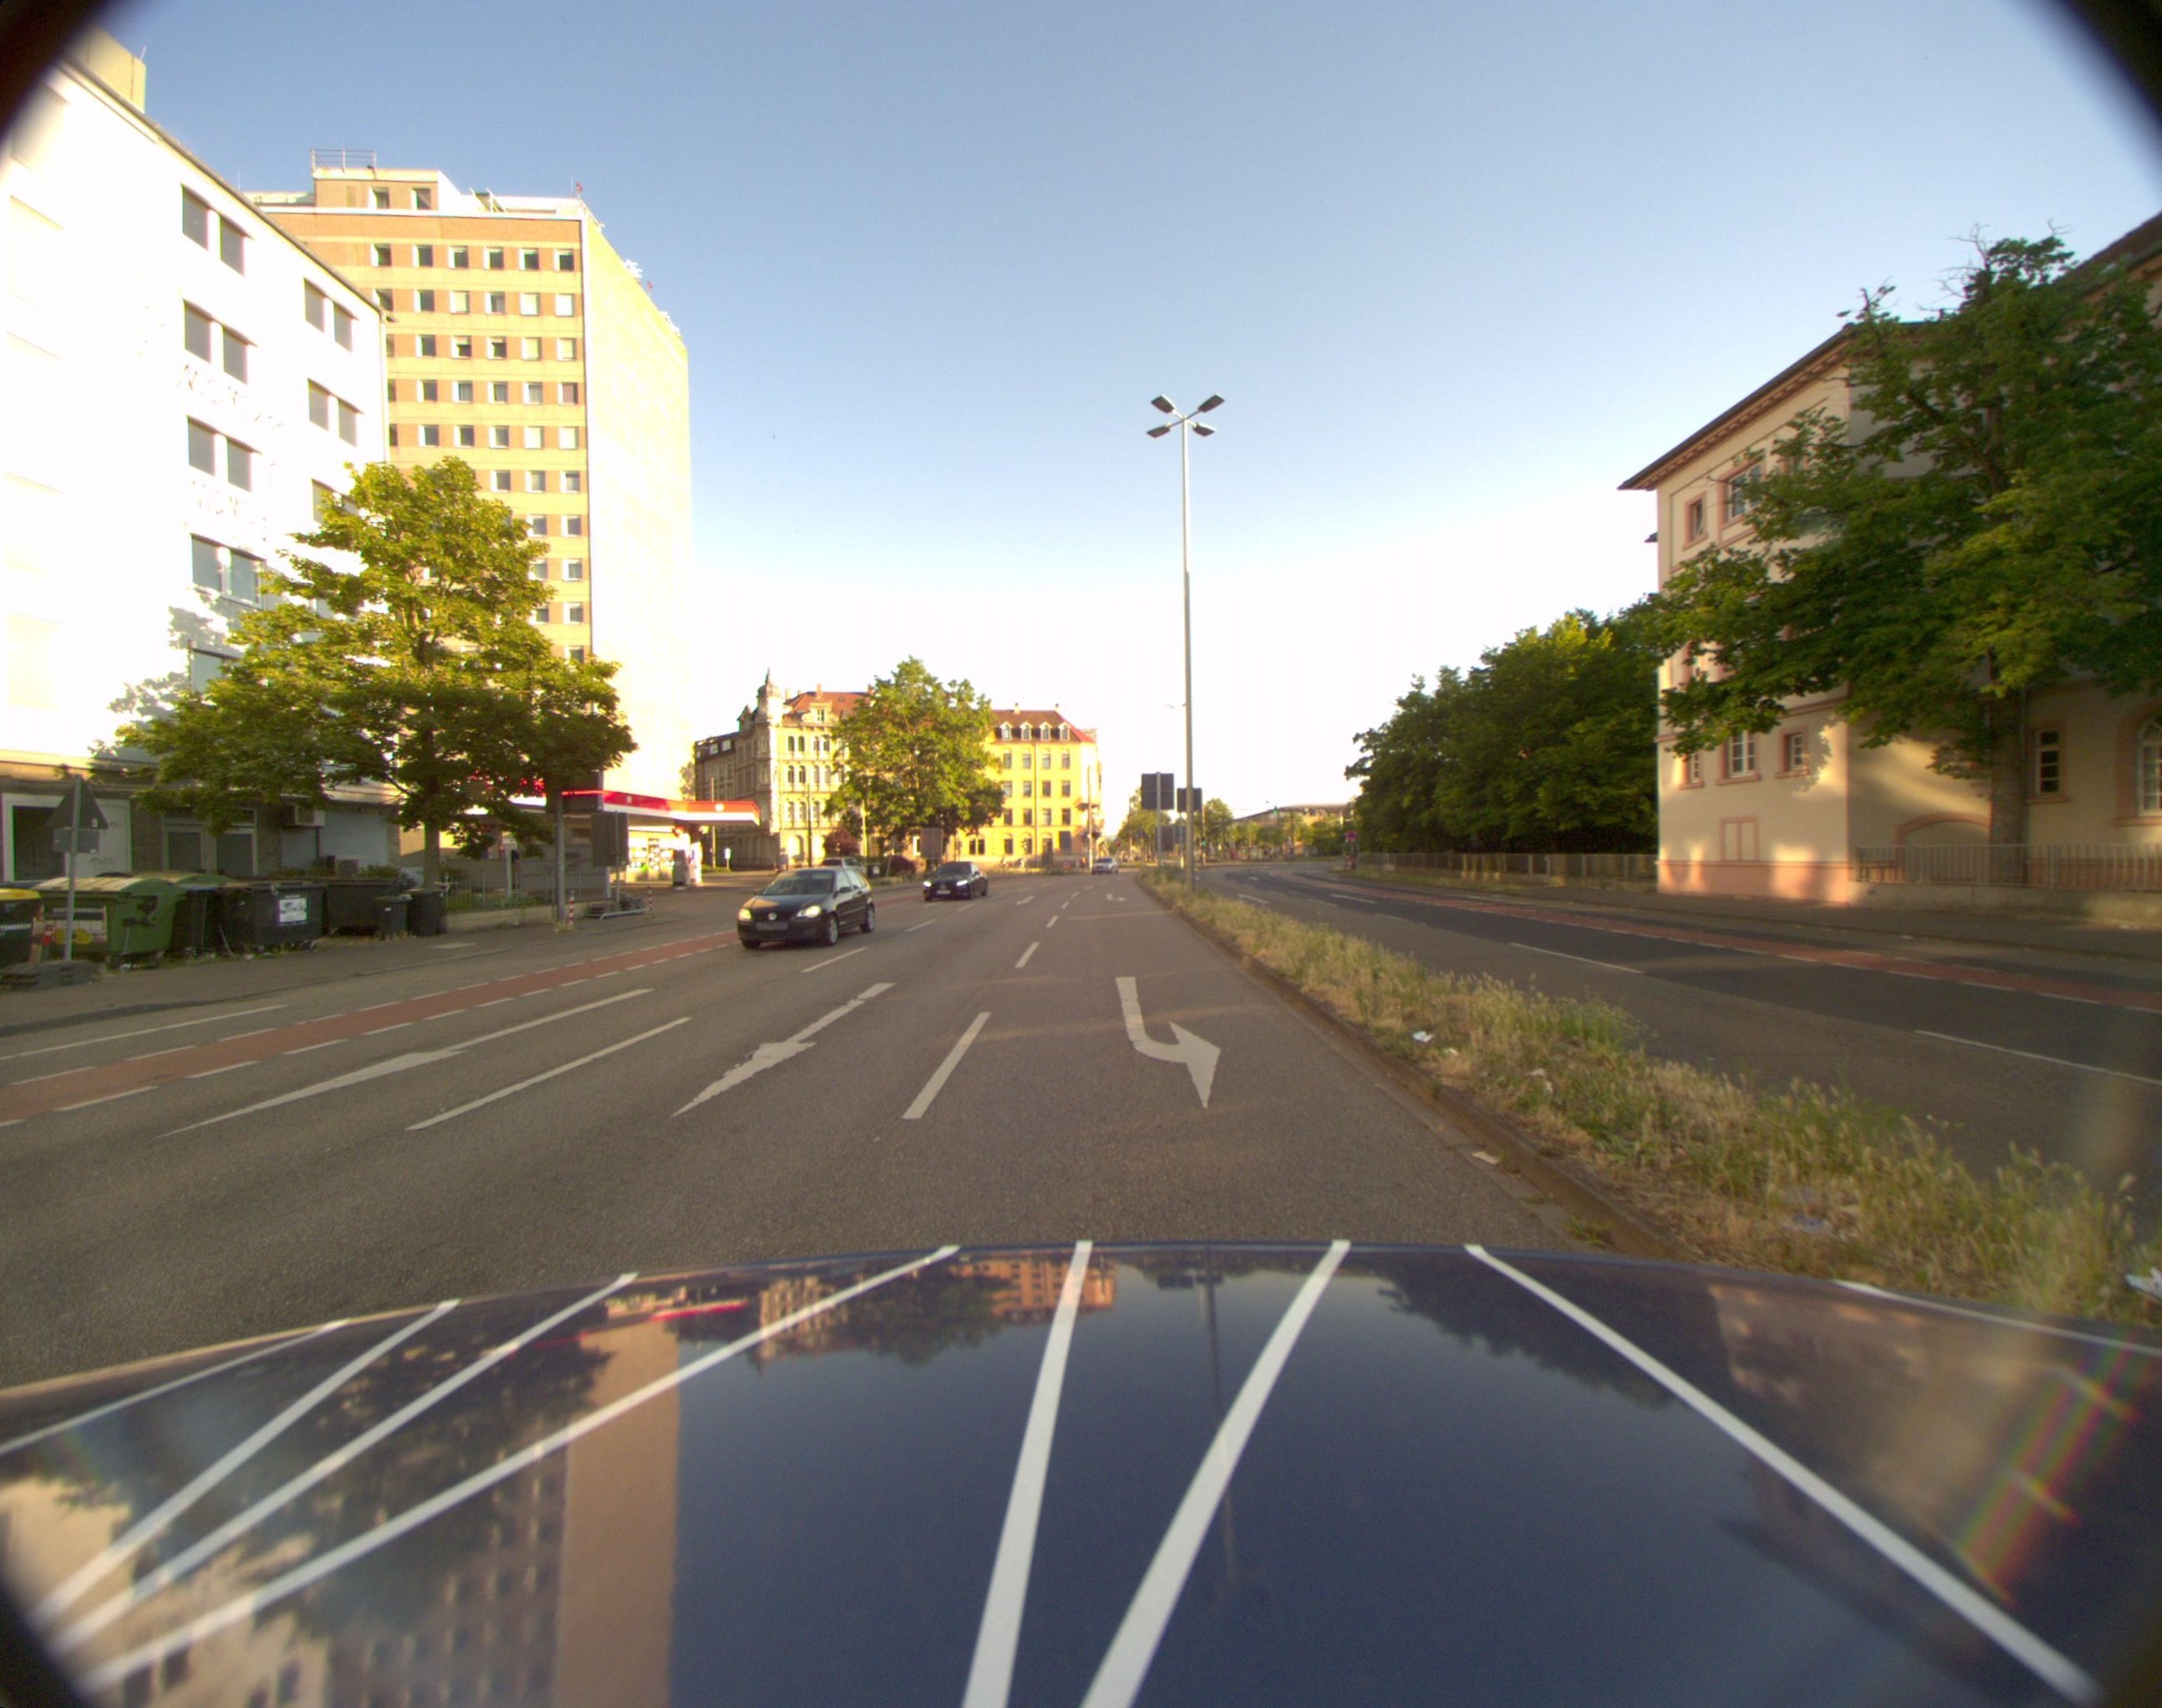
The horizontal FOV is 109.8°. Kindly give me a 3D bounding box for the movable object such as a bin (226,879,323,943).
[{"bbox_3d":[-17.930,1.246,16.924,0.956,1.320,1.098,-1,1,-2],"label":"movable object such as a bin"}]

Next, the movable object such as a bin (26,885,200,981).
[{"bbox_3d":[-15.812,1.262,12.467,1.351,1.415,1.105,-1,1,-4],"label":"movable object such as a bin"}]

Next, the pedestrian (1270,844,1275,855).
[{"bbox_3d":[34.233,-0.783,135.809,0.556,2.002,0.664,-1,1,1],"label":"pedestrian"}]

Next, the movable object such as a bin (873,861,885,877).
[{"bbox_3d":[-13.150,0.973,49.563,0.544,1.013,0.688,-1,1,5],"label":"movable object such as a bin"}]

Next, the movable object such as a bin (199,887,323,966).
[{"bbox_3d":[-14.944,1.296,13.894,0.956,1.320,1.162,-1,1,-2],"label":"movable object such as a bin"}]

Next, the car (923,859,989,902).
[{"bbox_3d":[-4.784,0.985,29.580,1.731,1.441,4.046,-2,0,2],"label":"car"}]

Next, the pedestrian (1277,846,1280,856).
[{"bbox_3d":[34.971,-0.508,134.637,0.467,1.695,0.419,-1,1,1],"label":"pedestrian"}]

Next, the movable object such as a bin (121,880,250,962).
[{"bbox_3d":[-17.124,1.248,14.572,1.034,1.440,1.162,-1,1,-2],"label":"movable object such as a bin"}]

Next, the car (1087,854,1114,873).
[{"bbox_3d":[1.672,0.769,63.459,1.674,1.410,4.443,-2,0,8],"label":"car"}]

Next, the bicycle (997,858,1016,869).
[{"bbox_3d":[-7.670,0.966,77.877,1.927,1.053,0.451,-1,1,-7],"label":"bicycle"}]

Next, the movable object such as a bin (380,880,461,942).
[{"bbox_3d":[-14.880,1.269,17.144,0.956,1.320,0.953,-1,1,-2],"label":"movable object such as a bin"}]

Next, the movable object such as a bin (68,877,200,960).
[{"bbox_3d":[-18.299,1.212,14.726,1.034,1.490,1.162,-1,1,-2],"label":"movable object such as a bin"}]

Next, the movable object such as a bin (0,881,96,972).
[{"bbox_3d":[-18.690,1.258,13.413,1.034,1.490,1.162,-1,1,-2],"label":"movable object such as a bin"}]

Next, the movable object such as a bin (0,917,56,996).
[{"bbox_3d":[-15.513,1.459,10.755,0.853,1.039,0.819,-1,1,-4],"label":"movable object such as a bin"}]

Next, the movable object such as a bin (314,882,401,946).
[{"bbox_3d":[-15.886,1.299,16.719,0.956,1.320,0.953,-1,1,-2],"label":"movable object such as a bin"}]

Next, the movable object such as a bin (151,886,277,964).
[{"bbox_3d":[-16.040,1.281,14.103,0.956,1.320,1.162,-1,1,-2],"label":"movable object such as a bin"}]

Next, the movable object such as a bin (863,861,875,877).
[{"bbox_3d":[-13.871,0.988,49.773,0.544,1.013,0.688,-1,1,5],"label":"movable object such as a bin"}]

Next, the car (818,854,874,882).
[{"bbox_3d":[-13.956,0.818,45.284,1.688,1.508,3.797,-1,1,8],"label":"car"}]

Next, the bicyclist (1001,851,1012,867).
[{"bbox_3d":[-7.606,0.534,77.946,1.065,1.639,0.732,-1,1,-7],"label":"bicyclist"}]

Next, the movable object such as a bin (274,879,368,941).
[{"bbox_3d":[-16.933,1.233,16.968,0.956,1.276,1.098,-1,1,-2],"label":"movable object such as a bin"}]

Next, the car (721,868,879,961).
[{"bbox_3d":[-5.319,1.071,14.939,1.584,1.441,3.872,-2,0,1],"label":"car"}]
